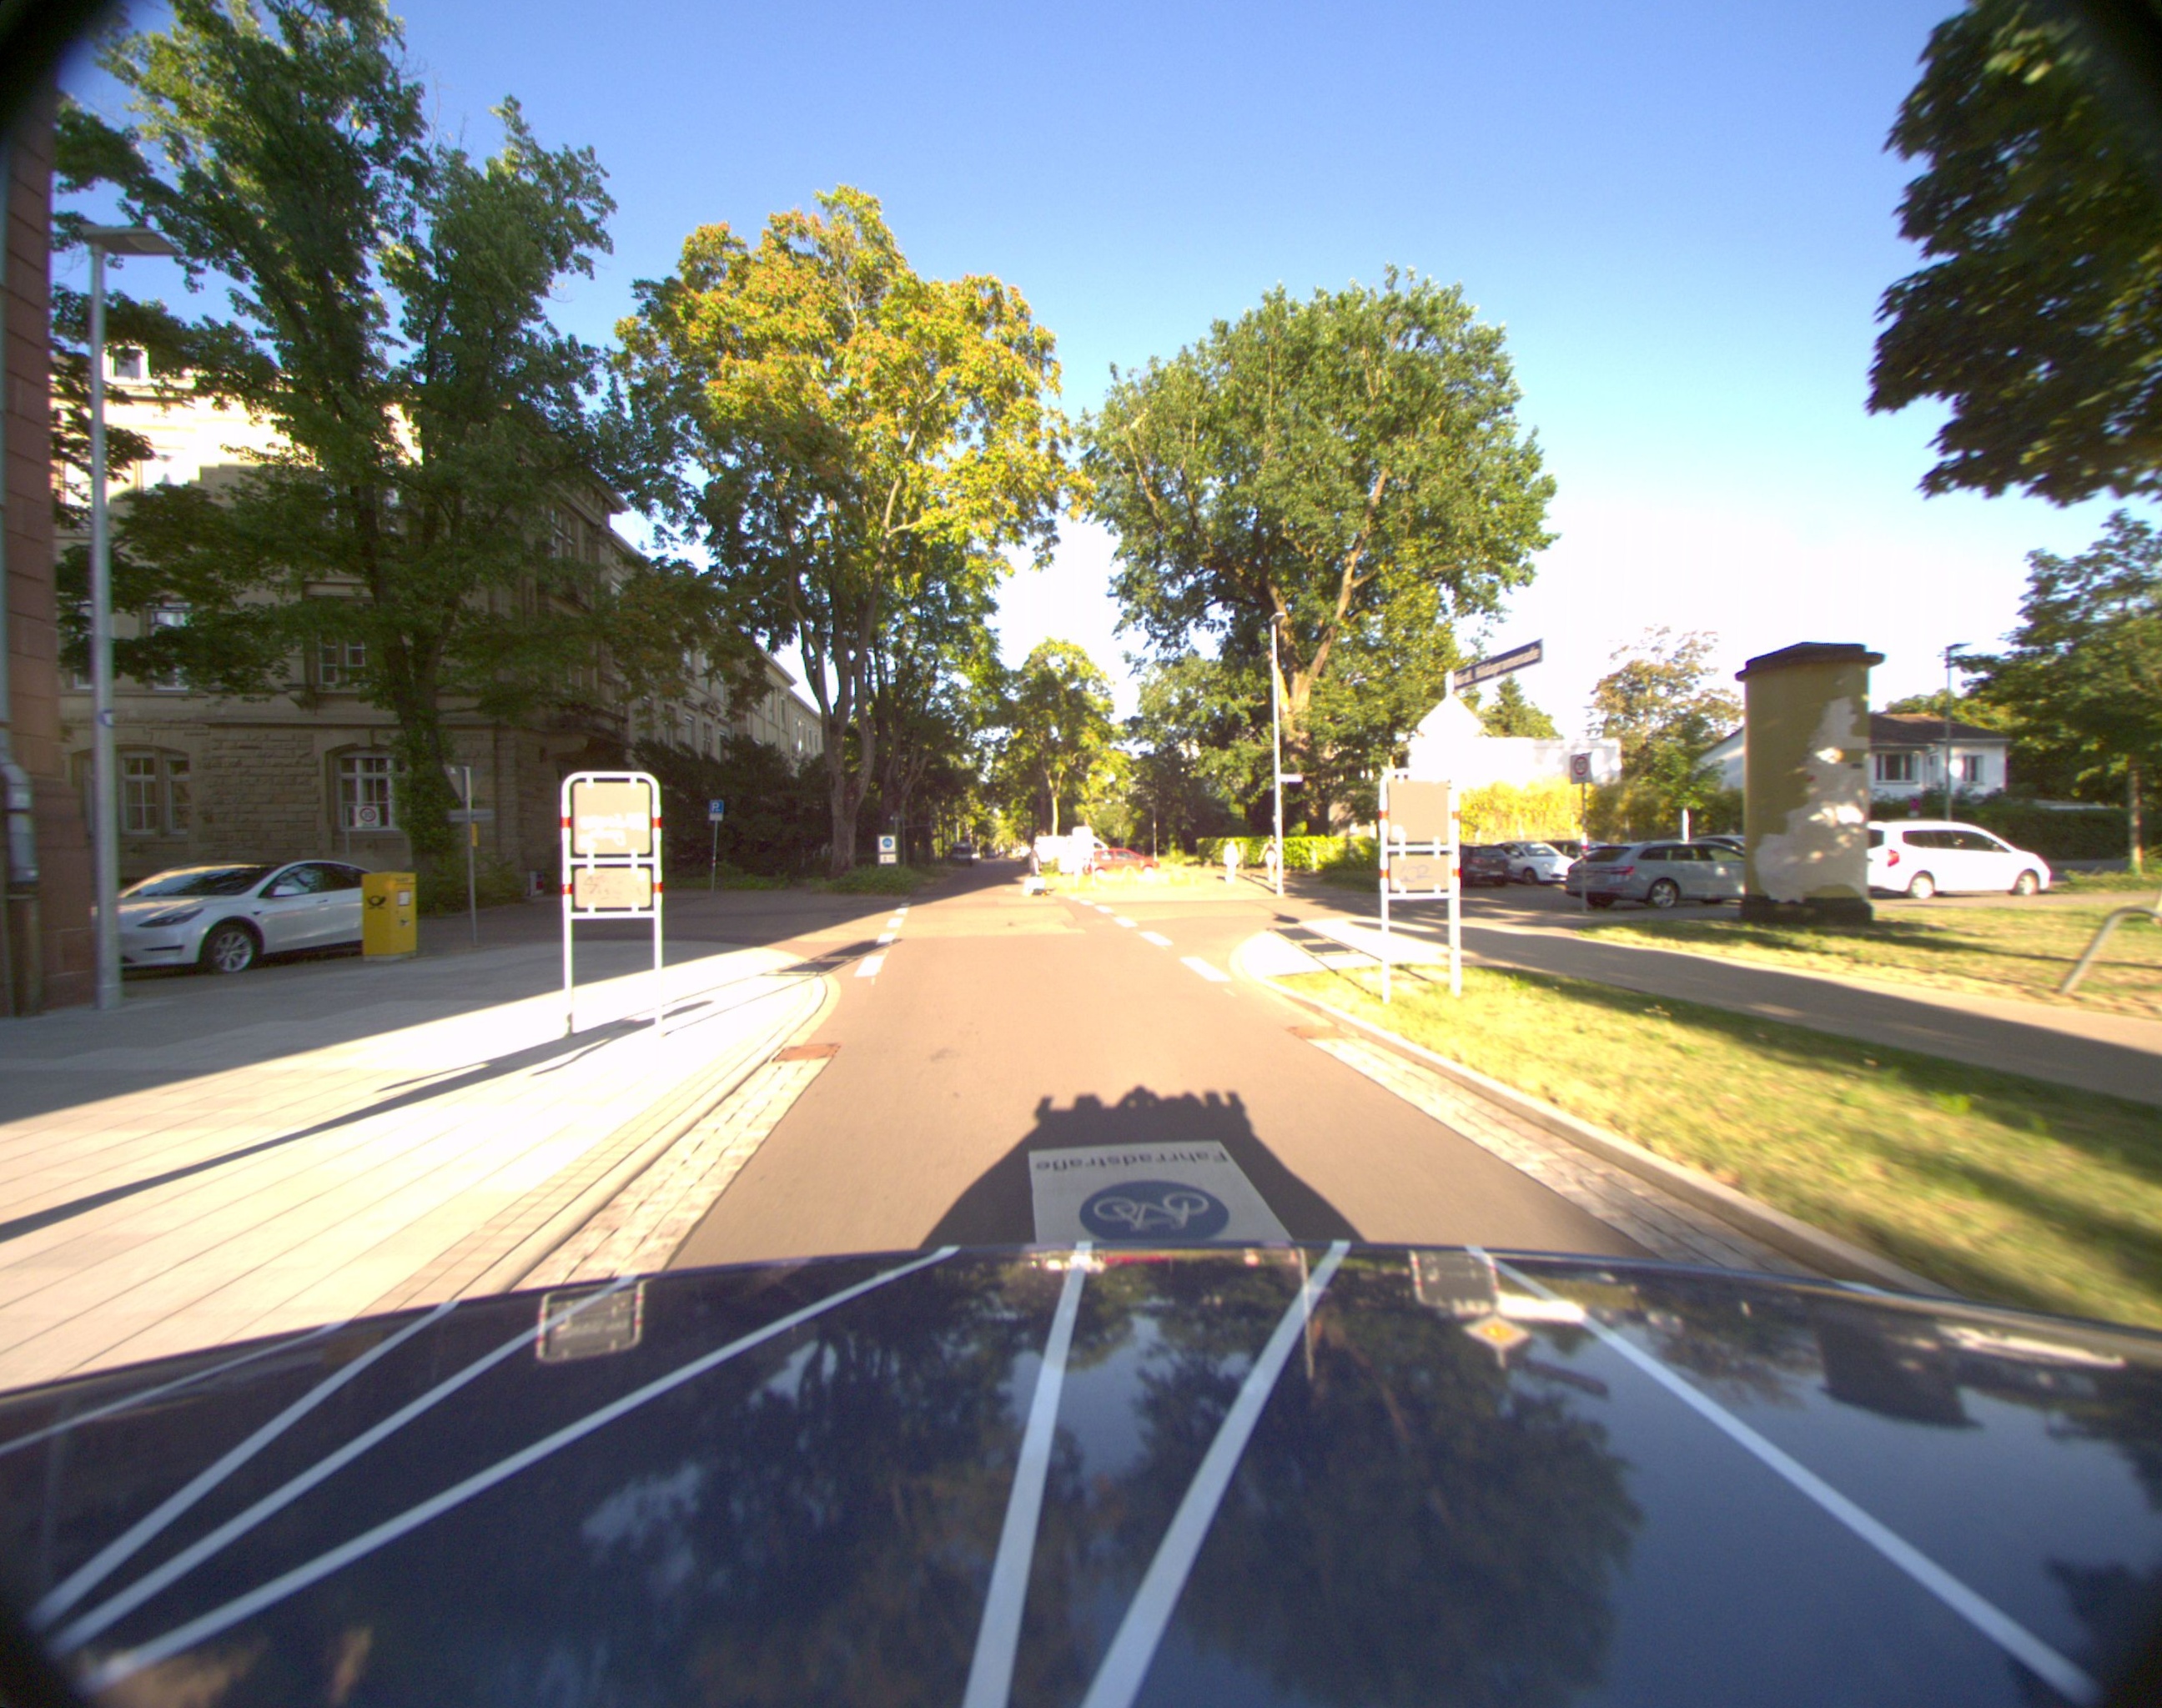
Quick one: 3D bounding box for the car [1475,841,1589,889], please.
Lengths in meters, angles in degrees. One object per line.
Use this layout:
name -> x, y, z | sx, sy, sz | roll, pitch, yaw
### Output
car -> 15.578, 0.316, 26.416 | 1.638, 1.483, 3.352 | -1, 2, -9

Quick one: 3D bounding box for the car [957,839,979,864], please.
car -> -11.915, -0.293, 80.240 | 1.952, 2.584, 4.164 | -1, 1, -4

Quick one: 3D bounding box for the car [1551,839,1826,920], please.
car -> 13.210, 0.507, 16.660 | 4.837, 1.549, 1.866 | -1, 1, -7

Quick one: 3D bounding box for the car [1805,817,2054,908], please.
car -> 19.610, 0.171, 17.640 | 4.238, 1.905, 1.761 | -1, 1, -7

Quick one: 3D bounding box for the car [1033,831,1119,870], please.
car -> -0.406, -0.277, 54.896 | 5.910, 2.685, 2.218 | -1, 1, -9

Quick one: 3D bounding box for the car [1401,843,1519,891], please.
car -> 13.007, 0.391, 26.346 | 1.645, 1.507, 3.996 | -1, 1, -9

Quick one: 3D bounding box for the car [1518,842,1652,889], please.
car -> 17.927, 0.358, 27.279 | 1.811, 1.449, 4.096 | -1, 2, -6

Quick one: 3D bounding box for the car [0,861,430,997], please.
car -> -12.492, 0.970, 11.433 | 1.967, 1.579, 4.719 | -1, -2, -11

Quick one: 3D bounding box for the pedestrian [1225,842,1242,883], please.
pedestrian -> 5.876, 0.319, 29.305 | 0.435, 1.572, 0.666 | -1, 1, -3

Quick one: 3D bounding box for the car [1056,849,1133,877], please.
car -> 0.723, 0.486, 42.888 | 4.059, 1.412, 1.717 | -1, 1, -9

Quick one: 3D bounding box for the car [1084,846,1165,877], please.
car -> 2.102, 0.366, 37.415 | 3.680, 1.412, 1.717 | -1, 1, -9

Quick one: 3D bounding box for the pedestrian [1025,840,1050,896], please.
pedestrian -> -1.509, 0.479, 26.402 | 0.615, 1.907, 0.721 | 0, 0, -31

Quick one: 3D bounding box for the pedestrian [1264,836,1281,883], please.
pedestrian -> 7.291, 0.200, 28.905 | 0.435, 1.765, 0.666 | -1, 1, -3
